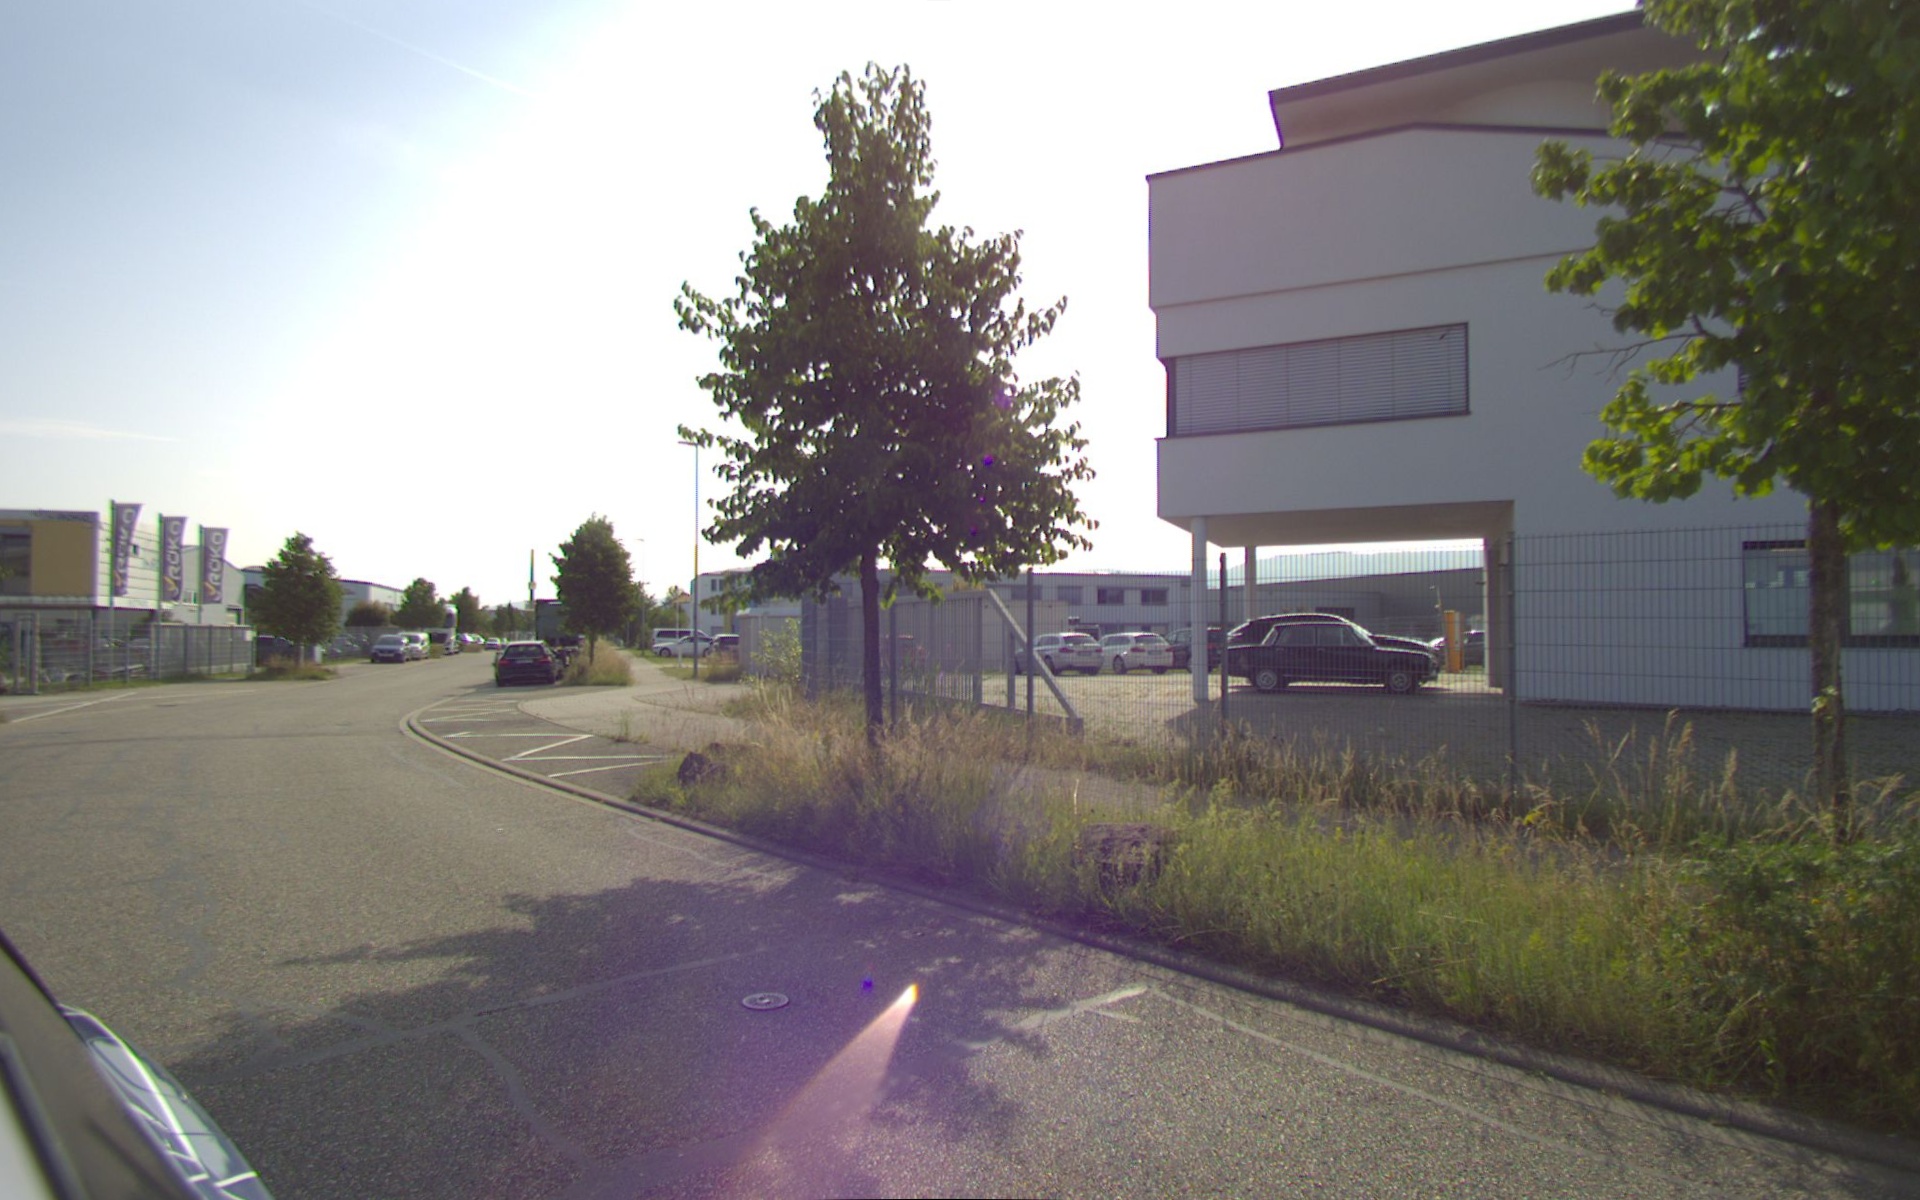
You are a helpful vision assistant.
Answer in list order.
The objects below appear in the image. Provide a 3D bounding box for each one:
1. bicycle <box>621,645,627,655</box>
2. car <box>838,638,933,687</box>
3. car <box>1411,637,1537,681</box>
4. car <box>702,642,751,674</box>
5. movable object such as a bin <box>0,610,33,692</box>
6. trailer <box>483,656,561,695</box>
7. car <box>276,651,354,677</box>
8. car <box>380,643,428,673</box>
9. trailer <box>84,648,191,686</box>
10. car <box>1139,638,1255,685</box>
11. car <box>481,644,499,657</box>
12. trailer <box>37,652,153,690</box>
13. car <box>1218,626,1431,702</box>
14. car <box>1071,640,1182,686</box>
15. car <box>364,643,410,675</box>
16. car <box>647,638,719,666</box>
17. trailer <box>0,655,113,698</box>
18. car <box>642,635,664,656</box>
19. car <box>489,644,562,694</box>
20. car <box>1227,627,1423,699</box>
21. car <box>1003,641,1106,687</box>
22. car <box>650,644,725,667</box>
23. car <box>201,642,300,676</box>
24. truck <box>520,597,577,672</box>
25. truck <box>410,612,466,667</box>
[{"bbox_3d":[-33.741,5.052,101.543,0.532,0.986,1.876,0,-2,-16],"label":"bicycle"},{"bbox_3d":[-2.598,2.109,34.219,1.745,1.537,4.318,1,-4,-25],"label":"car"},{"bbox_3d":[21.650,2.442,42.840,1.955,1.741,4.469,1,-2,-24],"label":"car"},{"bbox_3d":[-13.189,3.227,57.006,1.965,1.699,4.714,1,-3,-22],"label":"car"},{"bbox_3d":[-33.060,1.702,33.280,1.860,2.773,5.176,1,-2,-19],"label":"movable object such as a bin"},{"bbox_3d":[-17.027,2.902,39.695,2.100,1.242,7.178,-1,-2,-18],"label":"trailer"},{"bbox_3d":[-40.724,4.030,63.968,3.931,1.381,1.796,-1,-2,-24],"label":"car"},{"bbox_3d":[-36.075,3.720,65.754,1.965,1.803,4.614,0,-1,-19],"label":"car"},{"bbox_3d":[-33.828,2.713,41.775,1.965,1.320,4.578,0,-1,-19],"label":"trailer"},{"bbox_3d":[8.614,2.248,37.230,1.908,1.616,4.492,0,-3,-21],"label":"car"},{"bbox_3d":[-56.233,6.011,121.096,1.641,1.515,3.552,2,-3,-20],"label":"car"},{"bbox_3d":[-31.903,2.575,37.473,1.917,1.253,4.307,1,-2,-21],"label":"trailer"},{"bbox_3d":[7.332,1.265,20.430,3.899,1.426,1.549,-2,-2,26],"label":"car"},{"bbox_3d":[5.902,2.261,36.523,1.908,1.506,4.492,0,-3,-21],"label":"car"},{"bbox_3d":[-34.552,3.536,61.157,1.800,1.733,4.262,0,-1,-21],"label":"car"},{"bbox_3d":[-19.205,3.588,70.098,4.638,1.850,2.109,0,-3,-20],"label":"car"},{"bbox_3d":[-30.008,2.452,33.090,2.096,1.253,4.811,1,-2,-21],"label":"trailer"},{"bbox_3d":[-31.032,4.581,102.196,1.855,2.029,5.006,1,-3,-20],"label":"car"},{"bbox_3d":[-14.553,2.249,34.082,1.965,1.478,4.446,-1,-2,-20],"label":"car"},{"bbox_3d":[8.226,1.388,22.828,3.978,1.499,1.853,-2,-2,26],"label":"car"},{"bbox_3d":[3.245,2.247,35.799,1.807,1.506,4.492,0,-3,-21],"label":"car"},{"bbox_3d":[-18.212,3.707,67.526,4.660,1.442,2.006,0,-2,-20],"label":"car"},{"bbox_3d":[-38.467,3.175,55.020,4.165,1.750,1.905,0,-2,-27],"label":"car"},{"bbox_3d":[-23.693,1.960,58.620,2.421,3.911,9.833,-1,-1,-19],"label":"truck"},{"bbox_3d":[-41.795,3.217,81.293,2.707,4.046,9.716,3,-3,-20],"label":"truck"}]
